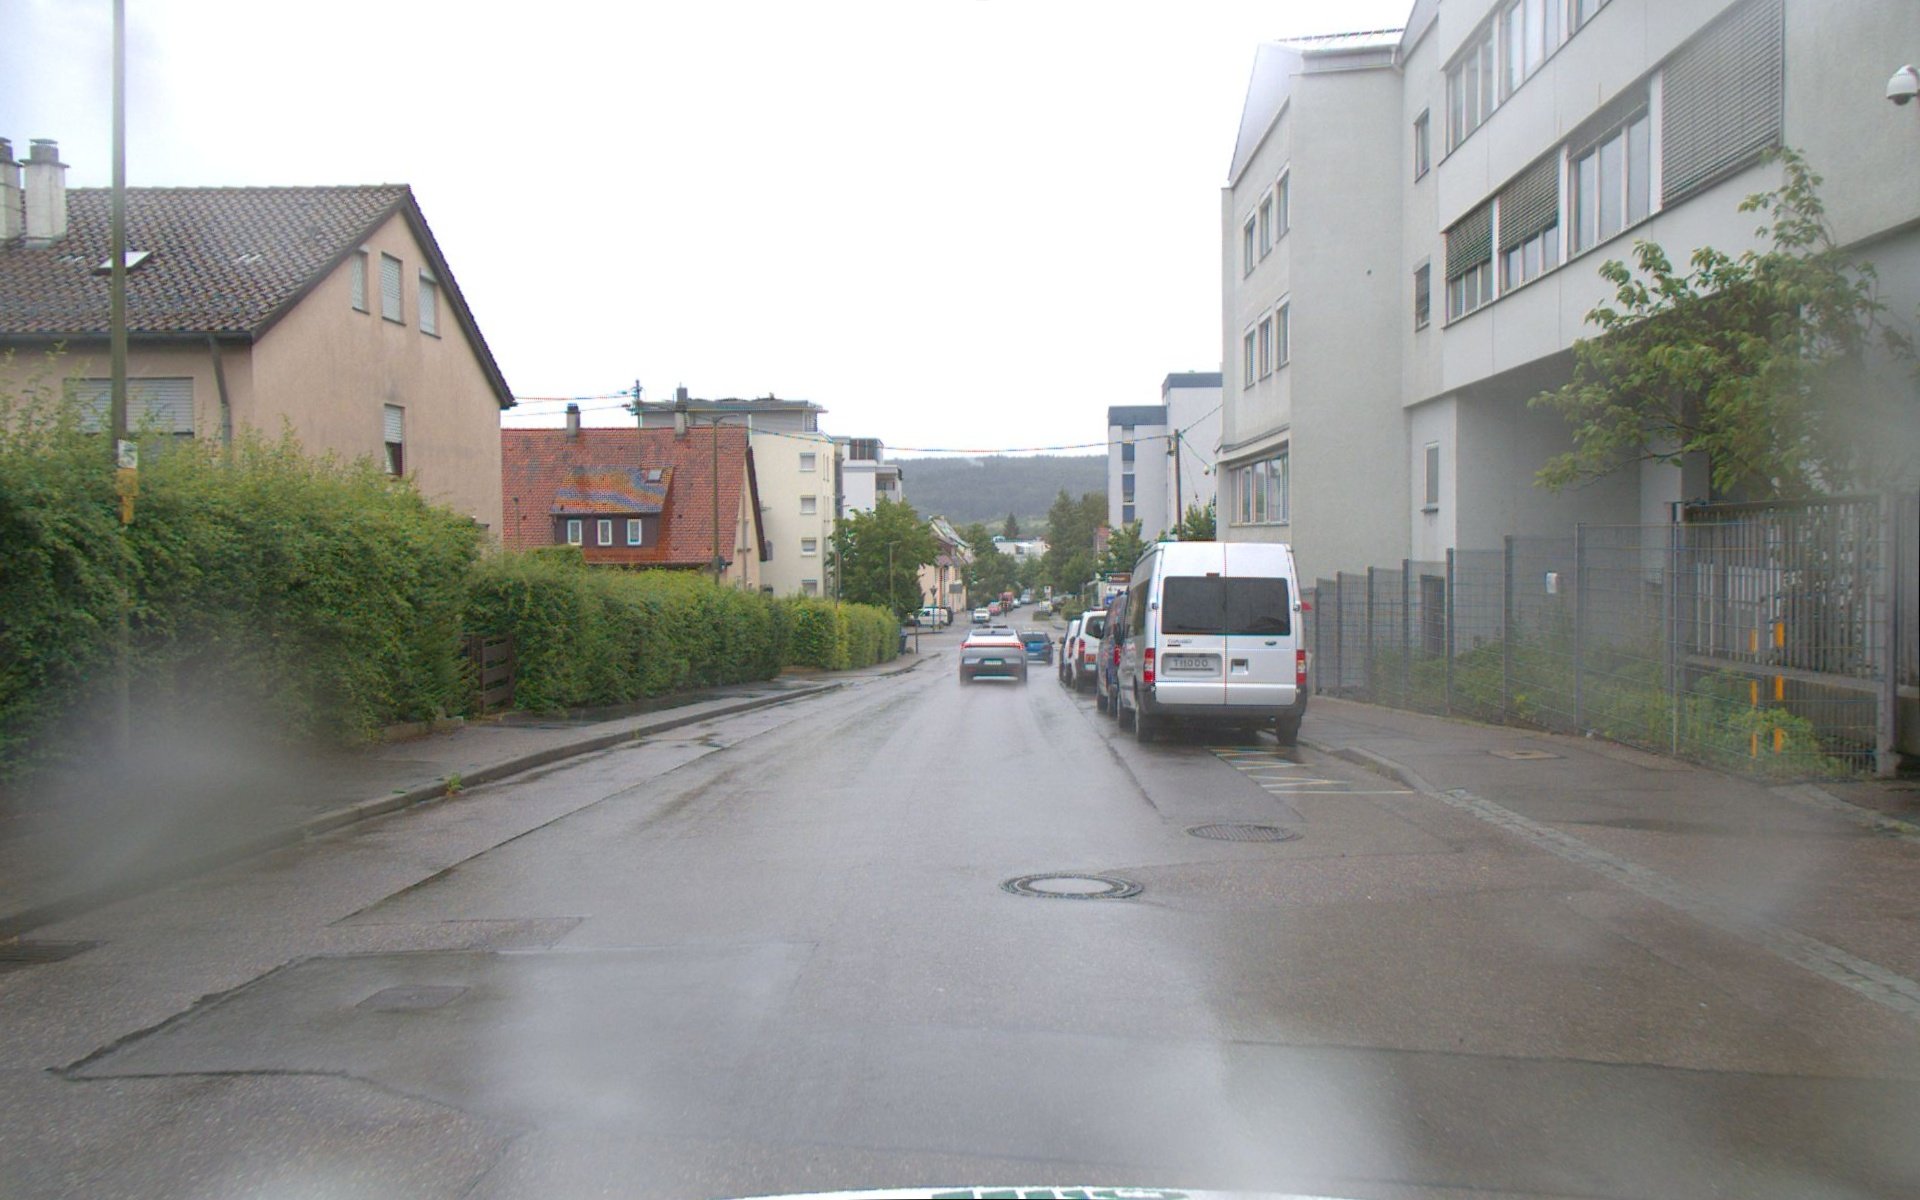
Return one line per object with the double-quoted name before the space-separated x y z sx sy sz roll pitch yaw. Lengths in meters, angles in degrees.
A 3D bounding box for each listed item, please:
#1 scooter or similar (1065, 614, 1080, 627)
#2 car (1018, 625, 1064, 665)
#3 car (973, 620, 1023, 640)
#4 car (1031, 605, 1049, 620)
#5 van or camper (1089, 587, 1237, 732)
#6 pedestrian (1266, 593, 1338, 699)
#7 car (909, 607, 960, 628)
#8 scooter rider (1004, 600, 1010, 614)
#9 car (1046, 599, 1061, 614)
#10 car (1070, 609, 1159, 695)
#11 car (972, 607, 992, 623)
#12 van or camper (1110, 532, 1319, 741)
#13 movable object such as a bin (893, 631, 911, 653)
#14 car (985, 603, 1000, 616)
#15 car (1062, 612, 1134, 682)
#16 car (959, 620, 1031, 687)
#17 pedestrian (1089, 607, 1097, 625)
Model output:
"scooter or similar" 10.463 1.911 154.017 1.242 1.100 0.876 -2 0 -2
"car" 3.847 2.127 79.078 1.952 1.713 4.000 -2 0 1
"car" 3.018 2.411 133.104 1.874 1.552 3.941 -2 0 -40
"car" 9.565 1.490 197.056 2.101 1.617 4.130 -2 0 3
"van or camper" 3.296 0.935 27.854 1.952 2.150 5.203 -2 -1 2
"pedestrian" 6.048 0.798 29.315 1.002 1.789 1.031 -2 0 0
"car" -2.493 1.692 164.147 4.790 1.867 1.975 -2 0 -36
"scooter rider" 6.102 0.903 215.146 0.736 1.827 0.673 -2 0 3
"car" 12.409 0.853 219.097 1.862 1.775 4.193 -2 0 3
"car" 3.776 1.260 41.162 1.952 1.969 4.977 -1 -1 3
"car" 2.441 1.678 183.730 1.952 1.654 4.193 -2 0 3
"van or camper" 3.101 0.440 21.303 1.952 2.282 5.442 -2 -1 2
"movable object such as a bin" -3.650 2.643 103.555 1.049 1.371 1.319 1 -1 0
"car" 4.322 1.308 220.163 1.862 1.586 4.193 -2 0 3
"car" 3.866 1.304 46.943 1.839 1.866 4.490 -1 -1 3
"car" 1.000 1.519 48.392 1.952 1.713 4.000 -2 0 1
"pedestrian" 12.495 1.510 155.225 0.634 1.676 0.525 2 -1 -4
